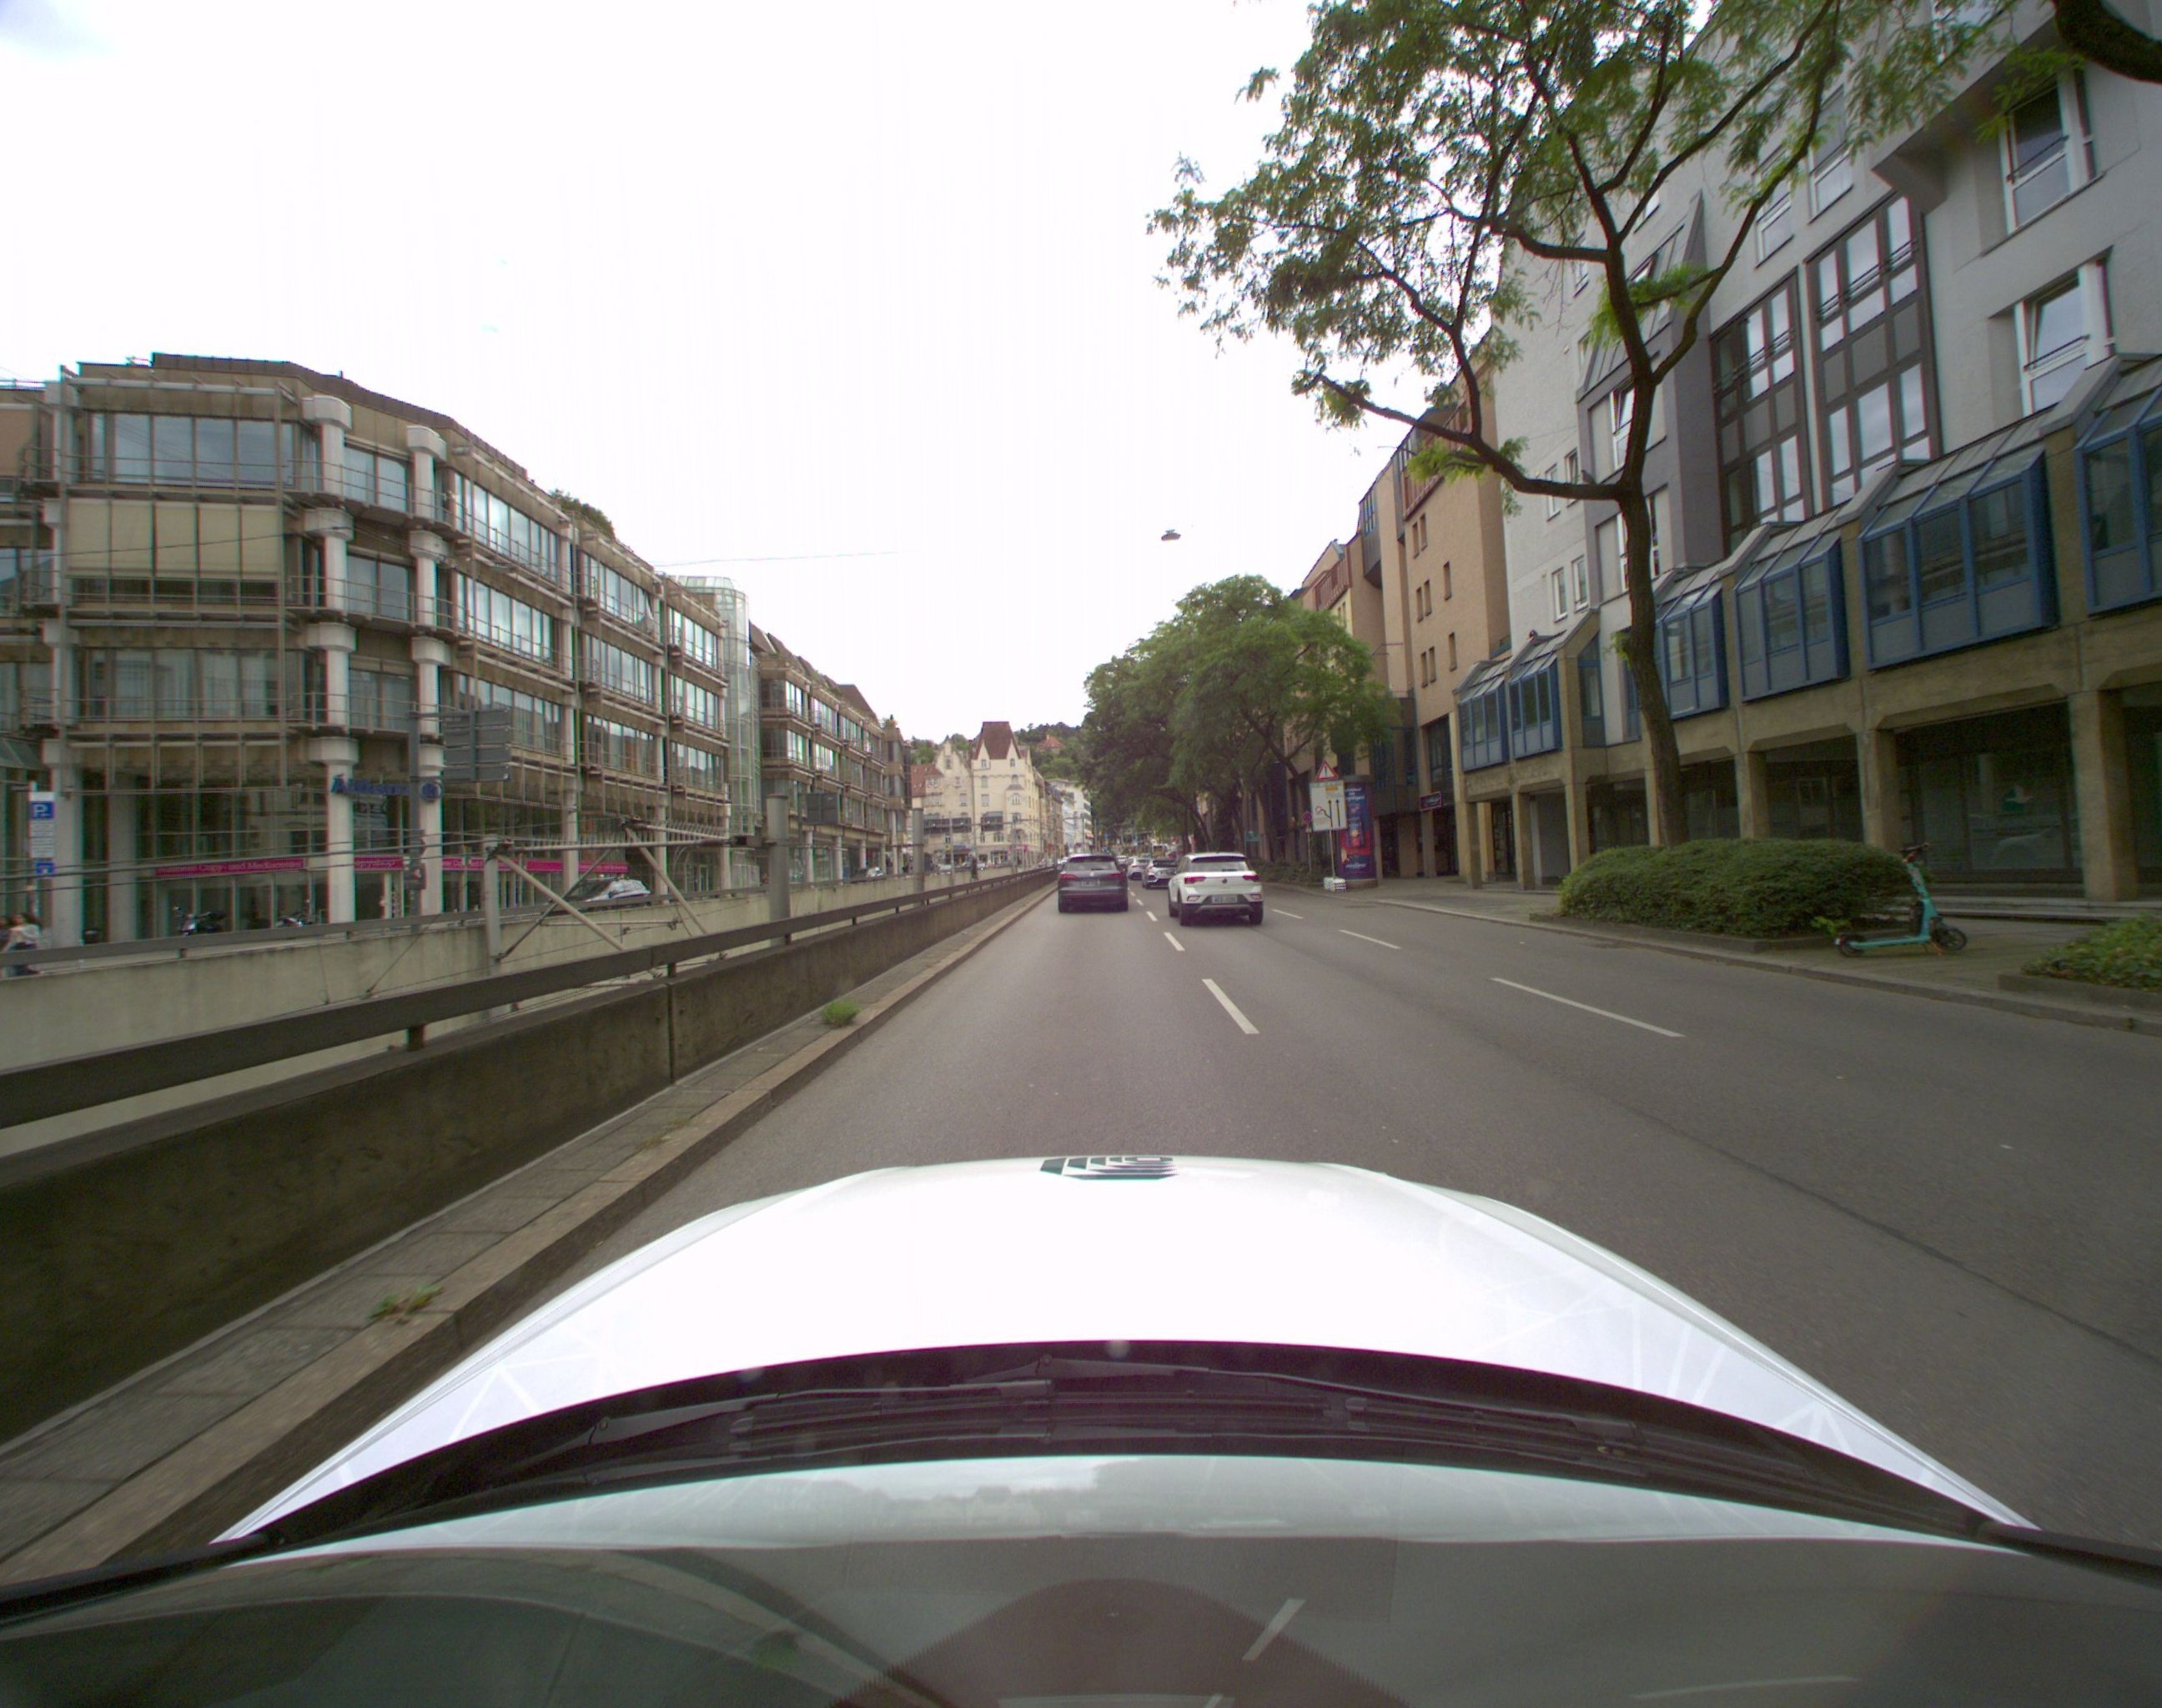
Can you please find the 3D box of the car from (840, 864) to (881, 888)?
[{"bbox_3d":[-17.796,1.756,65.832,1.986,1.767,4.281,-3,0,1],"label":"car"}]

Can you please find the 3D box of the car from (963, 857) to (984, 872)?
[{"bbox_3d":[-13.931,1.357,105.724,1.986,1.767,4.001,-3,0,1],"label":"car"}]

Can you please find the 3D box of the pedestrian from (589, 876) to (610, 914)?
[{"bbox_3d":[-23.364,1.968,39.517,0.530,1.793,0.695,-3,0,2],"label":"pedestrian"}]

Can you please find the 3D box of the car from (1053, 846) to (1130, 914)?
[{"bbox_3d":[0.258,0.674,23.746,1.964,1.695,4.223,-3,1,-1],"label":"car"}]

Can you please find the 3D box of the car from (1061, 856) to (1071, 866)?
[{"bbox_3d":[-2.883,1.295,154.196,1.814,1.647,3.996,-3,0,-2],"label":"car"}]

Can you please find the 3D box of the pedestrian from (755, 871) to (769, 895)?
[{"bbox_3d":[-24.761,2.244,63.287,0.773,1.824,0.711,-3,0,-8],"label":"pedestrian"}]

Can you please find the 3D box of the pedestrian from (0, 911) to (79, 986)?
[{"bbox_3d":[-23.252,2.085,18.168,0.699,1.544,0.845,-3,0,-7],"label":"pedestrian"}]

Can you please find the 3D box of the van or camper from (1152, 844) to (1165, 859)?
[{"bbox_3d":[17.081,-0.566,178.473,2.614,3.178,5.813,-3,0,6],"label":"van or camper"}]

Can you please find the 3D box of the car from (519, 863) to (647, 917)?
[{"bbox_3d":[-18.555,1.282,30.612,1.986,1.767,4.281,-3,0,1],"label":"car"}]

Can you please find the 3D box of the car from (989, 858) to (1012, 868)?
[{"bbox_3d":[-14.306,1.578,145.149,3.983,1.647,1.820,-2,0,-7],"label":"car"}]

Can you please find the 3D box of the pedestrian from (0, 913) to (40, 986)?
[{"bbox_3d":[-24.019,2.127,18.061,0.699,1.544,0.845,-3,0,-7],"label":"pedestrian"}]

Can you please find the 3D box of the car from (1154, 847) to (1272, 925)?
[{"bbox_3d":[2.881,0.710,18.618,1.794,1.545,3.929,-1,-2,-4],"label":"car"}]

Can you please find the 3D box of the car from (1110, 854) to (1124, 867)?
[{"bbox_3d":[4.900,0.921,111.786,1.825,1.567,3.768,-4,-1,1],"label":"car"}]

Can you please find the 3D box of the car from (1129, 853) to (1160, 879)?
[{"bbox_3d":[4.211,0.781,54.520,1.824,1.517,3.770,-4,-1,3],"label":"car"}]

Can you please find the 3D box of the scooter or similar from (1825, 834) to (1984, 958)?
[{"bbox_3d":[9.258,0.471,9.185,1.154,1.285,0.427,-5,-1,10],"label":"scooter or similar"}]

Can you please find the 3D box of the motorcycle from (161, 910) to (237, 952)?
[{"bbox_3d":[-31.018,2.675,28.680,0.792,1.257,1.931,-2,0,-11],"label":"motorcycle"}]

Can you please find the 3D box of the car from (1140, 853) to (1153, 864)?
[{"bbox_3d":[11.660,0.807,145.129,1.821,1.874,4.882,-4,-1,8],"label":"car"}]

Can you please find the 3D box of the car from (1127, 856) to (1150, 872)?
[{"bbox_3d":[5.427,0.897,77.138,1.827,1.363,3.765,-4,-1,-1],"label":"car"}]

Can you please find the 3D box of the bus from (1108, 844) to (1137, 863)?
[{"bbox_3d":[8.416,-0.121,162.271,3.827,3.532,17.289,-3,0,9],"label":"bus"}]

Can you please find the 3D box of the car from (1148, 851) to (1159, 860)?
[{"bbox_3d":[14.034,0.296,157.881,1.833,1.469,4.008,-3,0,7],"label":"car"}]

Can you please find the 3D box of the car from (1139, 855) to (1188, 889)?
[{"bbox_3d":[3.786,0.812,38.008,1.828,1.432,4.146,-2,0,0],"label":"car"}]
